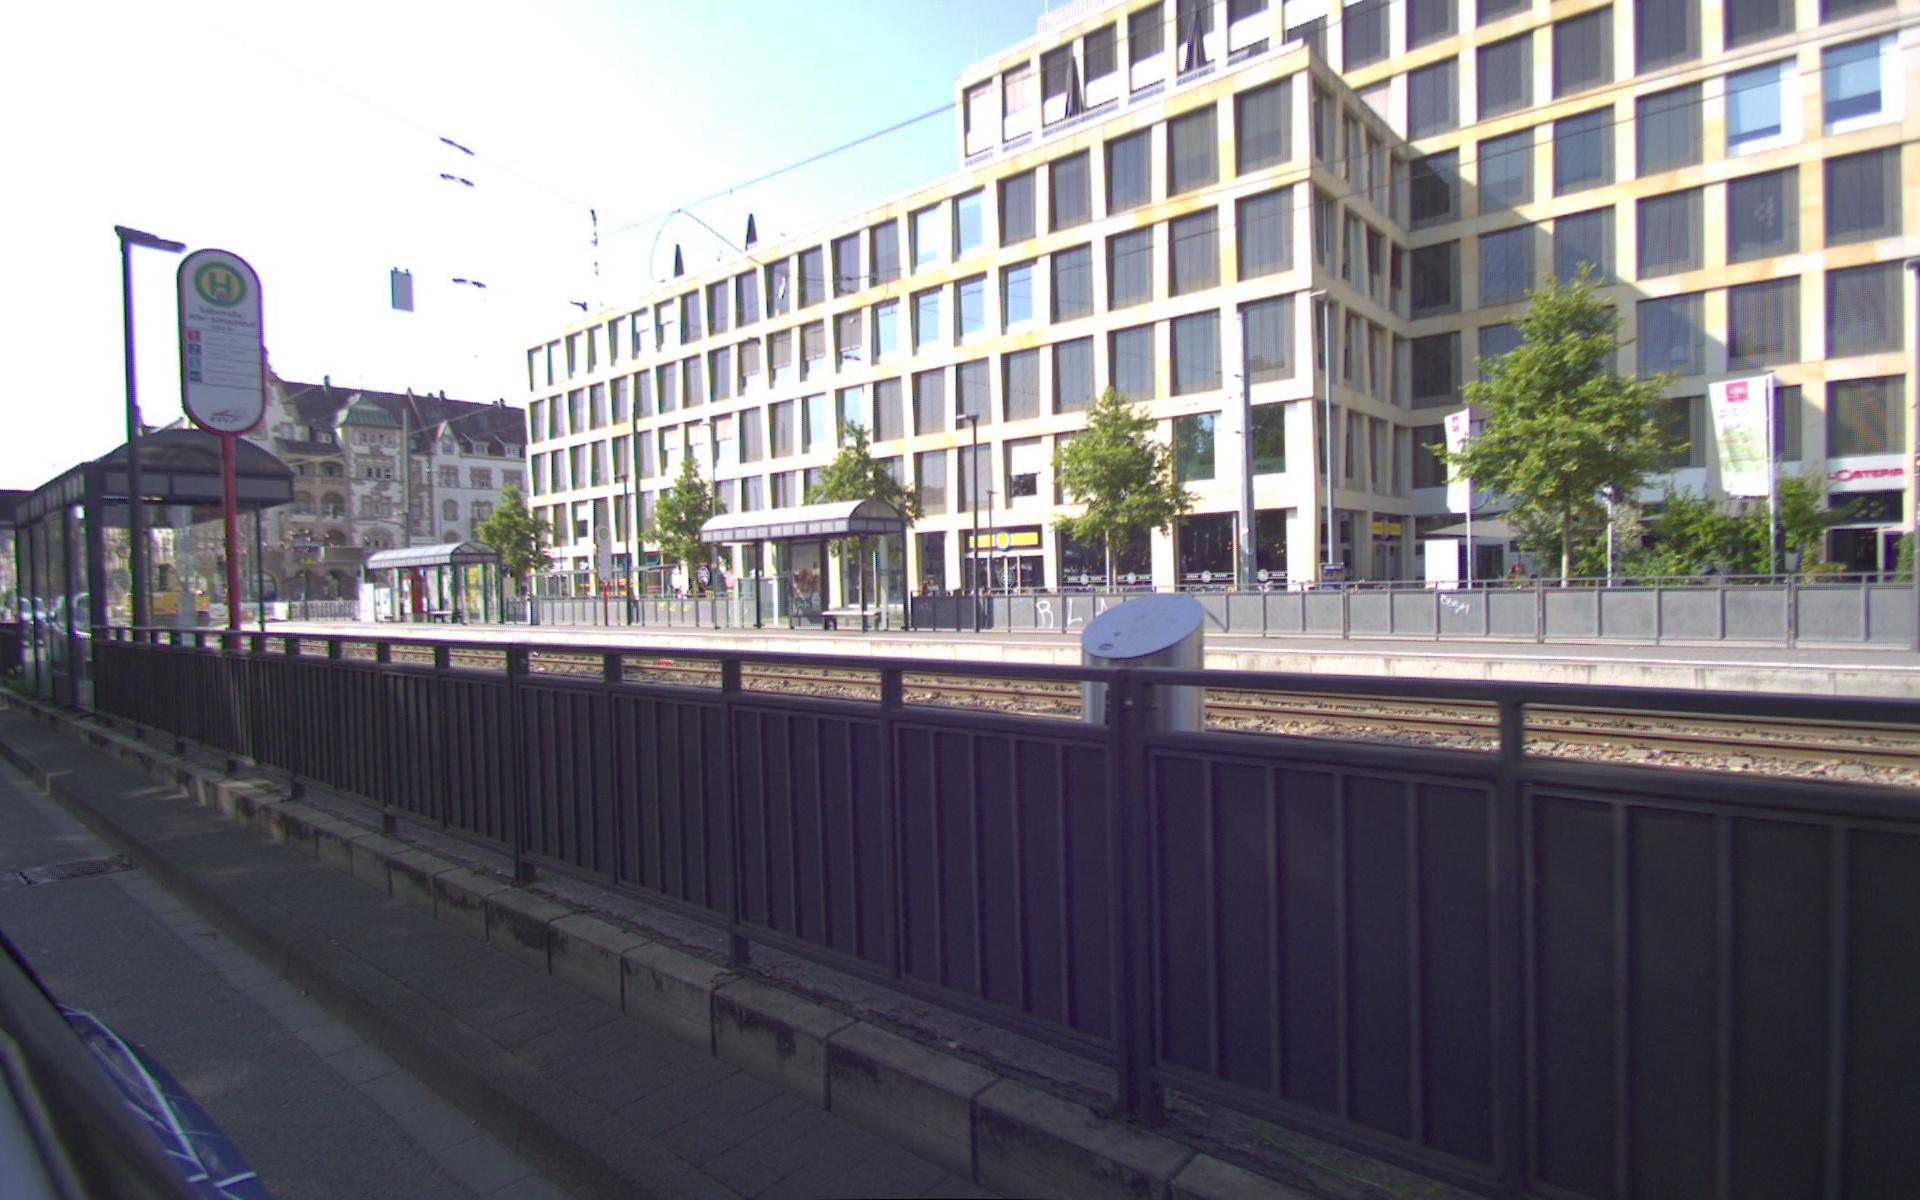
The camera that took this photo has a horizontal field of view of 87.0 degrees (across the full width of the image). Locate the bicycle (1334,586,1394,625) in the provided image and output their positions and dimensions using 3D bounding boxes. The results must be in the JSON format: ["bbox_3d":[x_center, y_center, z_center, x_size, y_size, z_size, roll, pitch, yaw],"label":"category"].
[{"bbox_3d":[11.136,0.136,27.863,0.821,0.993,2.409,-1,1,39],"label":"bicycle"}]

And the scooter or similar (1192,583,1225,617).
[{"bbox_3d":[7.602,-0.001,30.935,0.371,0.993,1.486,-1,1,39],"label":"scooter or similar"}]

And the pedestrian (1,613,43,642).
[{"bbox_3d":[-45.407,1.316,49.017,1.293,1.316,0.801,-2,0,-25],"label":"pedestrian"}]

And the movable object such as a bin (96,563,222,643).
[{"bbox_3d":[-44.742,0.159,56.912,3.454,4.043,9.071,-2,0,-25],"label":"movable object such as a bin"}]

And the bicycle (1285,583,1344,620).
[{"bbox_3d":[10.266,0.023,29.271,0.821,0.993,2.409,-1,1,39],"label":"bicycle"}]

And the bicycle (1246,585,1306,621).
[{"bbox_3d":[9.331,0.080,29.814,0.821,0.993,2.409,-1,1,39],"label":"bicycle"}]

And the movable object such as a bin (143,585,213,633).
[{"bbox_3d":[-59.319,0.678,76.693,8.345,3.355,2.816,-1,1,43],"label":"movable object such as a bin"}]

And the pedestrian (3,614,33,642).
[{"bbox_3d":[-44.899,1.322,48.239,0.825,1.316,0.801,-2,0,-25],"label":"pedestrian"}]

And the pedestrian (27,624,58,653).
[{"bbox_3d":[-43.616,1.805,48.099,0.983,1.316,1.003,-2,0,44],"label":"pedestrian"}]

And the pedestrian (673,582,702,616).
[{"bbox_3d":[-14.328,-0.041,53.202,1.123,1.765,0.966,-1,1,41],"label":"pedestrian"}]

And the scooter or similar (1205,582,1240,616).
[{"bbox_3d":[7.952,-0.034,30.608,0.395,0.993,1.507,-1,1,39],"label":"scooter or similar"}]

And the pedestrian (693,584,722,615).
[{"bbox_3d":[-13.436,-0.019,53.839,1.123,1.609,0.966,-1,1,41],"label":"pedestrian"}]

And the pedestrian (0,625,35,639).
[{"bbox_3d":[-48.138,1.645,51.228,0.913,0.641,1.880,-1,1,44],"label":"pedestrian"}]
